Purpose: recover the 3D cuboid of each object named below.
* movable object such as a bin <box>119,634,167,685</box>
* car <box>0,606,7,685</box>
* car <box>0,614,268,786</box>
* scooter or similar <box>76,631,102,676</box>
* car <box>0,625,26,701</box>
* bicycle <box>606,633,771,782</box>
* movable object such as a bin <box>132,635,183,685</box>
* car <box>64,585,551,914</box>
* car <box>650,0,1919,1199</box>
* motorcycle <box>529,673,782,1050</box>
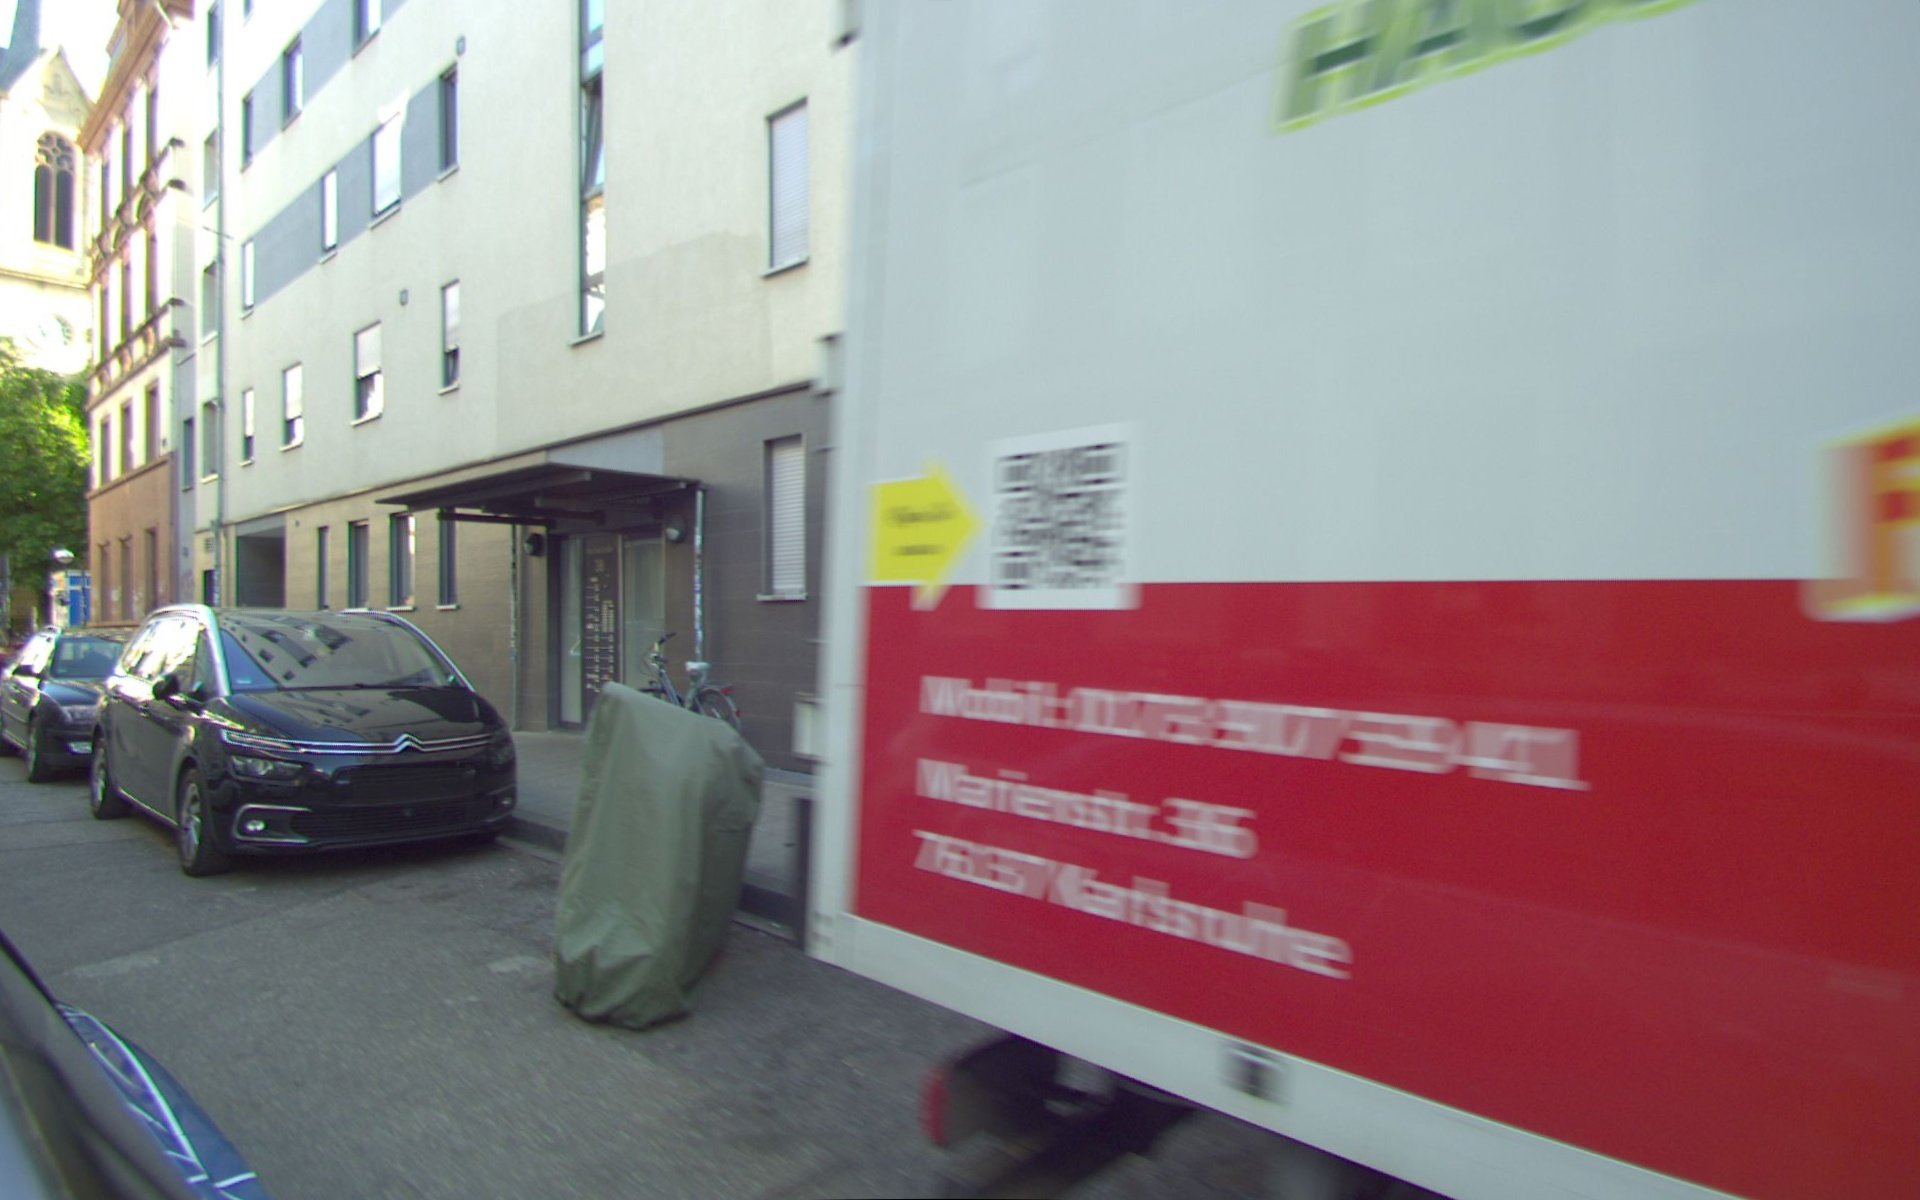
[{"bbox_3d":[-18.512,1.336,22.944,0.748,1.075,0.653,-1,0,-30],"label":"movable object such as a bin"},{"bbox_3d":[-25.518,1.165,25.356,5.295,1.893,1.999,-2,-1,42],"label":"car"},{"bbox_3d":[-9.172,0.981,10.876,4.495,1.490,1.699,-2,-5,40],"label":"car"},{"bbox_3d":[-24.822,1.510,28.839,1.391,1.225,0.344,-1,0,41],"label":"scooter or similar"},{"bbox_3d":[-21.376,1.282,21.522,3.867,1.533,1.732,-1,-4,41],"label":"car"},{"bbox_3d":[-2.394,0.879,8.807,1.773,1.173,0.484,-2,-4,42],"label":"bicycle"},{"bbox_3d":[-17.781,1.326,22.440,0.501,1.075,0.728,-1,0,9],"label":"movable object such as a bin"},{"bbox_3d":[-4.798,0.870,7.190,4.242,1.663,1.699,-2,-5,40],"label":"car"},{"bbox_3d":[2.777,-0.181,0.769,7.151,3.316,2.319,-1,-3,42],"label":"car"},{"bbox_3d":[-1.267,1.000,4.672,0.779,1.262,2.111,1,-3,-8],"label":"motorcycle"}]
